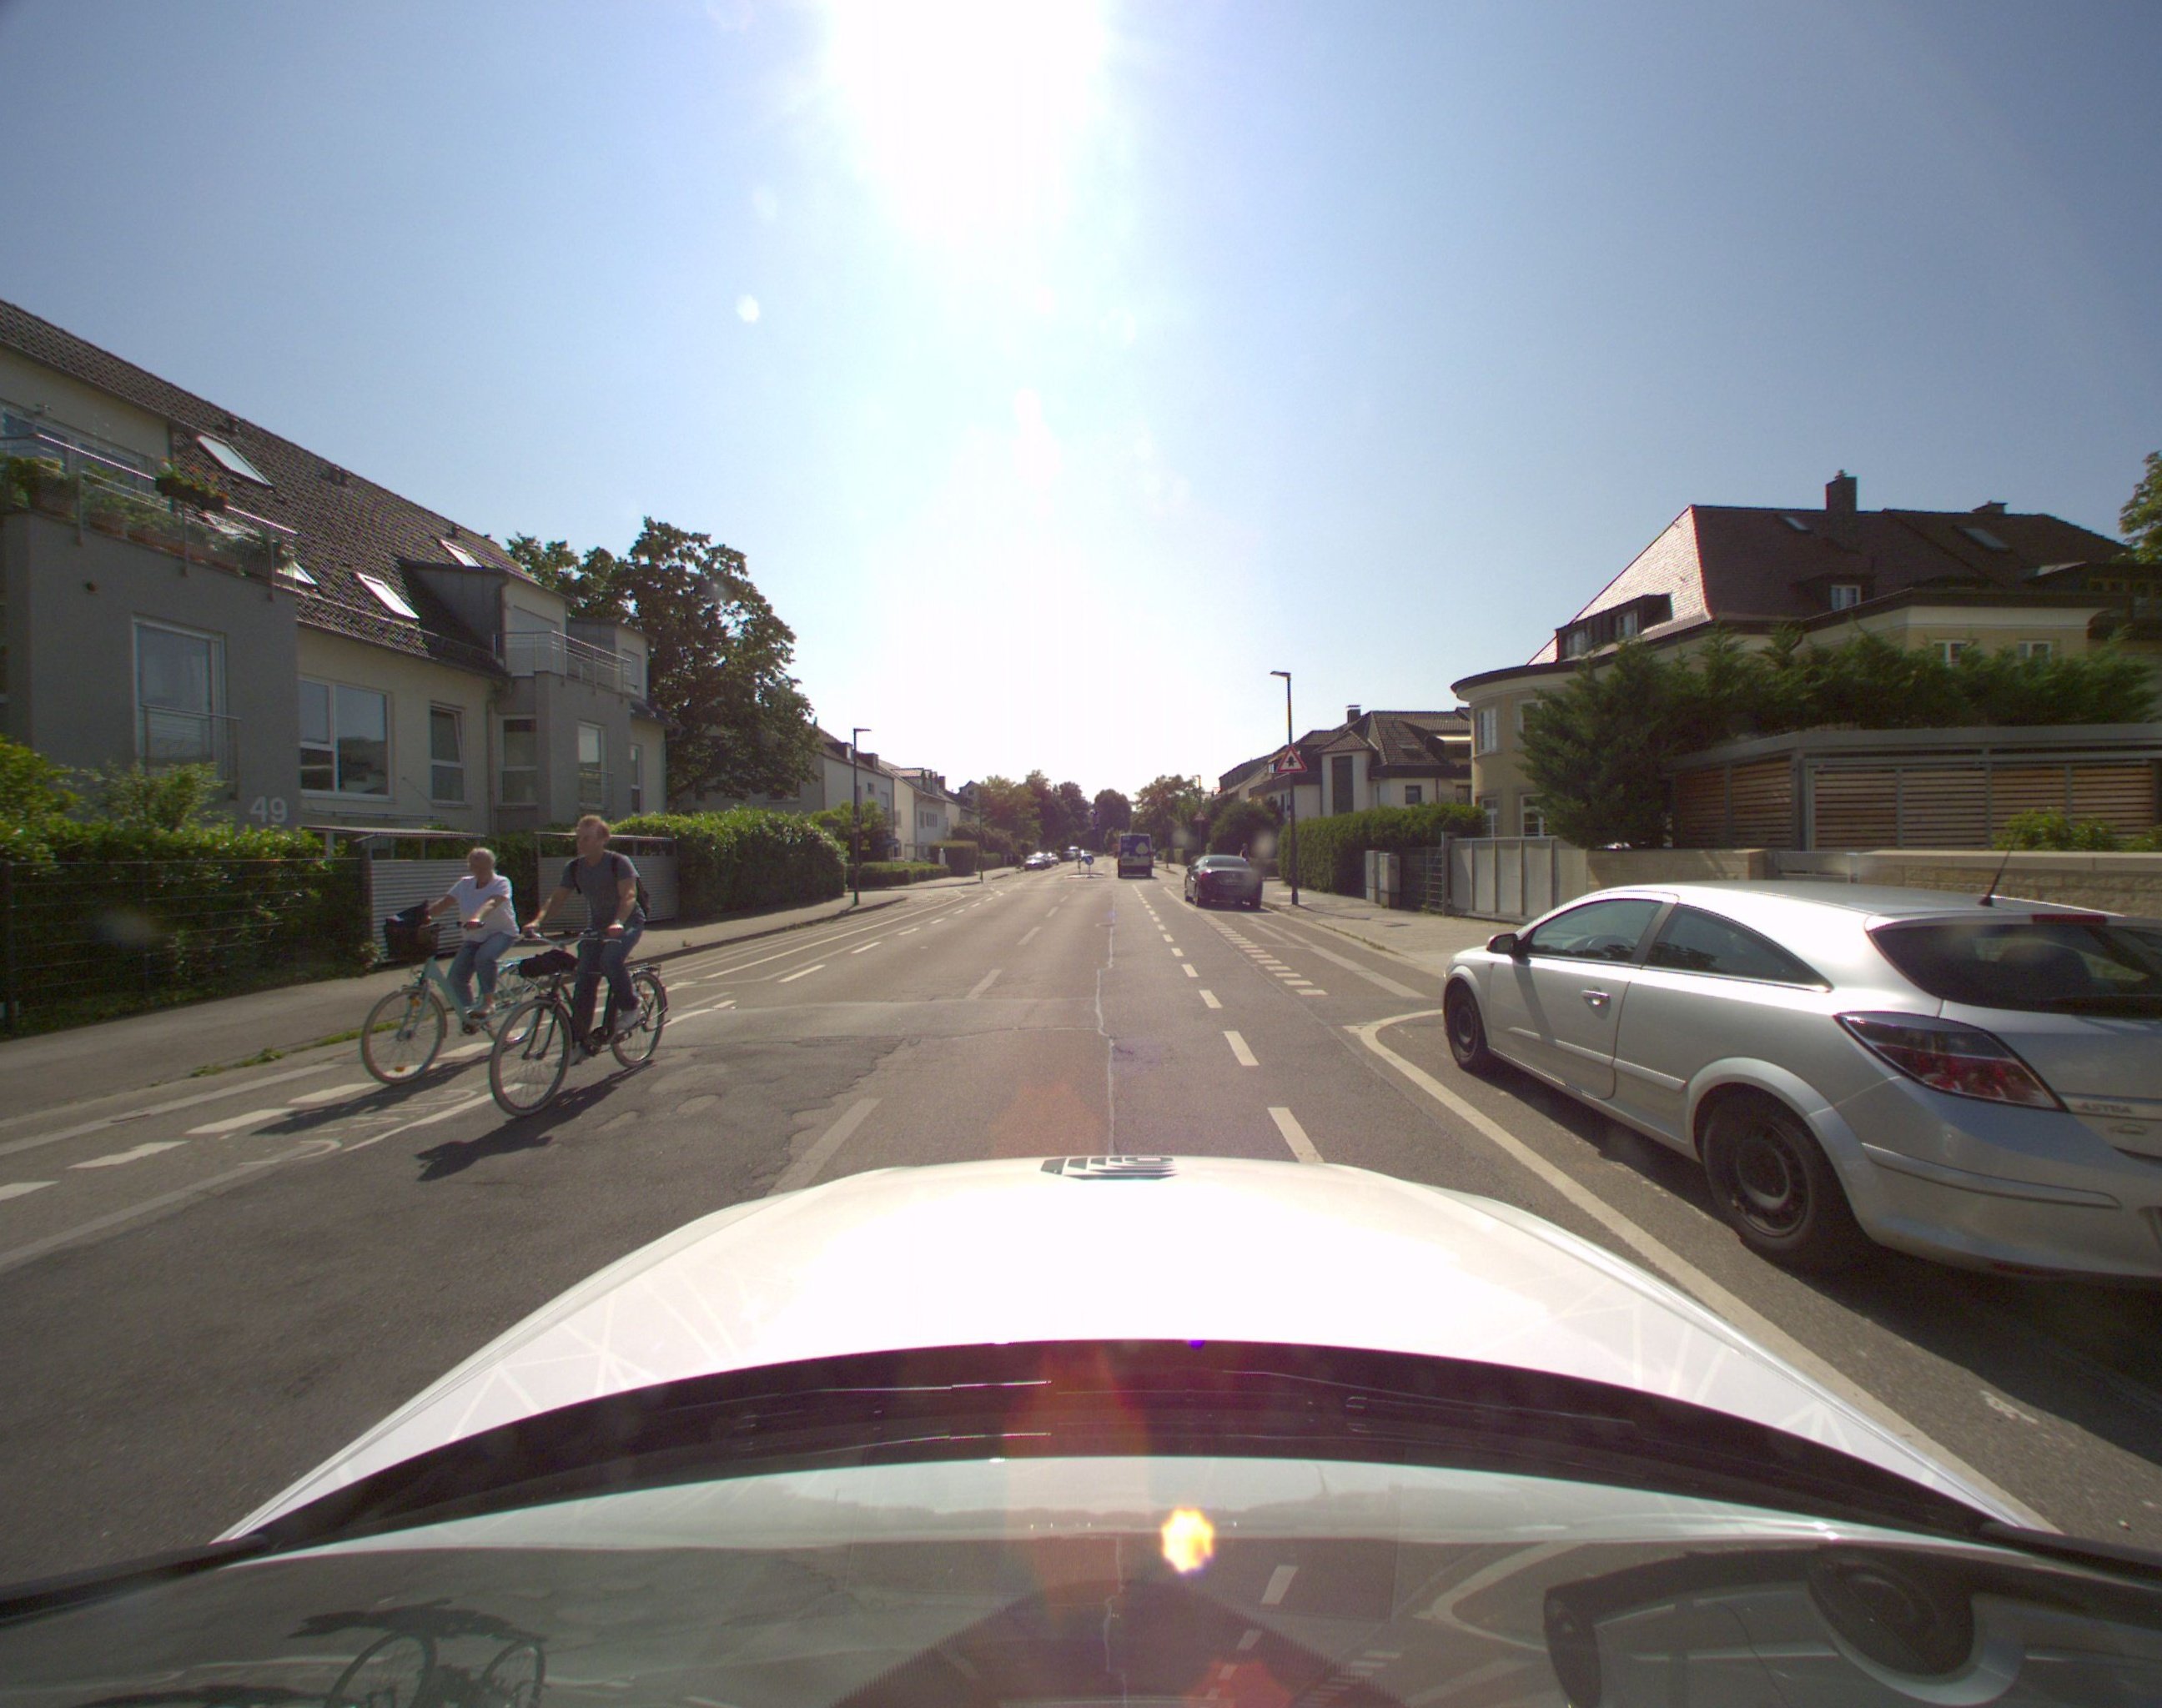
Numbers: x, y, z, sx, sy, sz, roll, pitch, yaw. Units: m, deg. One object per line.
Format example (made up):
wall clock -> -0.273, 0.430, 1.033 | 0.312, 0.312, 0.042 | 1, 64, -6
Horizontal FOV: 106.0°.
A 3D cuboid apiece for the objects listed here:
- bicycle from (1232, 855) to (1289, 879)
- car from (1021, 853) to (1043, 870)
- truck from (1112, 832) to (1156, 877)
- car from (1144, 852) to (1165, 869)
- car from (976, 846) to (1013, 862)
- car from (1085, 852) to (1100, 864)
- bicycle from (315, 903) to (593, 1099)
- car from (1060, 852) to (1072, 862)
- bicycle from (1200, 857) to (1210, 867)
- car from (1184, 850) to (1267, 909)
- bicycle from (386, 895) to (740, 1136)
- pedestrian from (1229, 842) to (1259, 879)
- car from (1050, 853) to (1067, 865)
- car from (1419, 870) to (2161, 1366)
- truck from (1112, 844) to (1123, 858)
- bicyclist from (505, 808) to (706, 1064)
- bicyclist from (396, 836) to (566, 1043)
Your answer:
bicycle -> 8.977, 0.656, 40.794 | 2.676, 1.158, 0.869 | -1, 0, 34
car -> -4.542, 0.702, 75.297 | 1.780, 1.440, 4.153 | -3, 0, -1
truck -> 3.153, 0.040, 49.174 | 2.266, 2.571, 4.390 | -1, 0, -1
car -> 7.053, 0.591, 78.478 | 1.734, 1.402, 4.074 | -3, 1, 1
car -> -9.934, -0.045, 93.775 | 3.972, 1.759, 2.001 | -1, 1, 2
car -> 1.712, 0.561, 120.251 | 1.907, 1.666, 4.509 | -3, 0, 3
bicycle -> -4.952, 1.082, 6.657 | 0.557, 1.185, 2.037 | -4, 0, 2
car -> -2.393, 0.492, 132.977 | 1.774, 1.460, 4.086 | -2, 0, 1
bicycle -> 7.748, 0.518, 50.798 | 0.400, 0.599, 1.151 | -2, 0, -1
car -> 4.022, 0.660, 23.233 | 1.730, 1.468, 4.347 | 1, 0, 2
bicycle -> -3.371, 0.954, 5.705 | 0.779, 1.166, 2.421 | -4, 0, 2
pedestrian -> 8.444, 0.328, 42.148 | 0.904, 1.872, 1.177 | -1, 0, -31
car -> -2.740, 0.576, 98.791 | 1.779, 1.440, 4.001 | -2, 0, 1
car -> 3.431, 0.790, 4.296 | 1.730, 1.329, 4.078 | 2, -1, 2
truck -> 7.607, -0.613, 168.117 | 2.205, 2.946, 5.690 | -1, 0, 3
bicyclist -> -3.419, 0.548, 5.957 | 0.746, 1.667, 1.022 | -4, 0, 2
bicyclist -> -4.969, 0.671, 6.804 | 0.673, 1.580, 0.860 | -4, 0, 2
